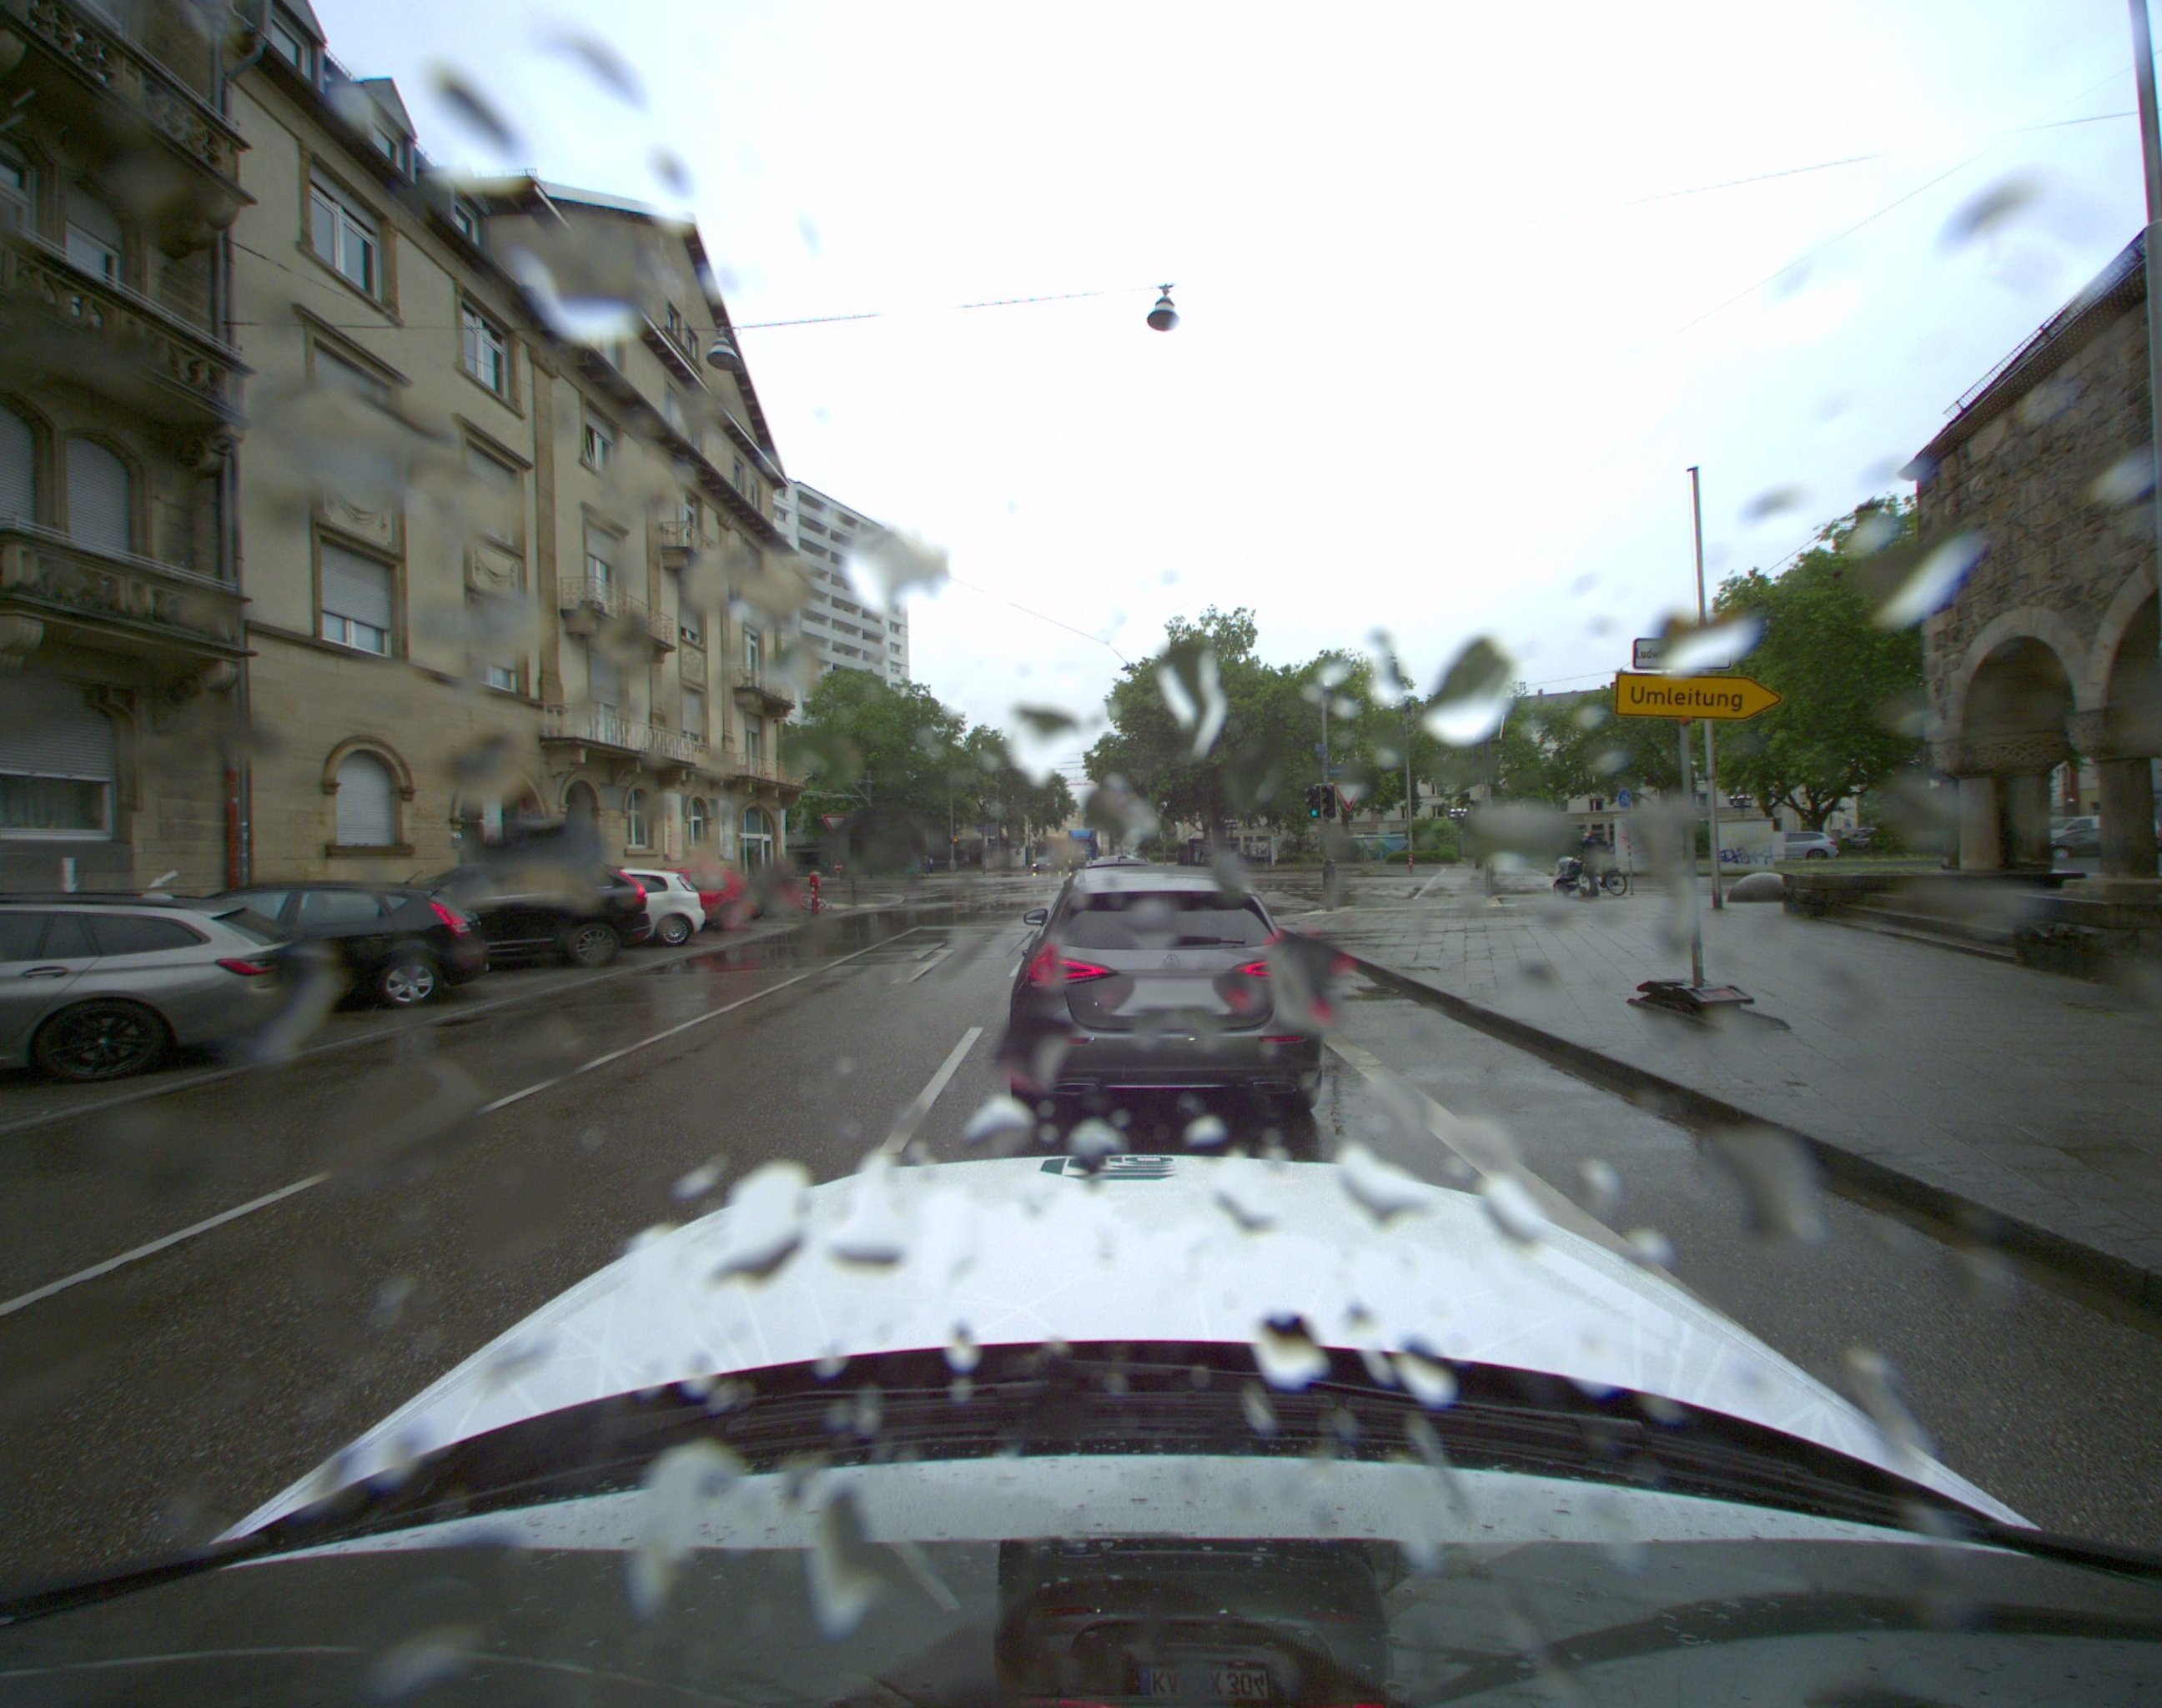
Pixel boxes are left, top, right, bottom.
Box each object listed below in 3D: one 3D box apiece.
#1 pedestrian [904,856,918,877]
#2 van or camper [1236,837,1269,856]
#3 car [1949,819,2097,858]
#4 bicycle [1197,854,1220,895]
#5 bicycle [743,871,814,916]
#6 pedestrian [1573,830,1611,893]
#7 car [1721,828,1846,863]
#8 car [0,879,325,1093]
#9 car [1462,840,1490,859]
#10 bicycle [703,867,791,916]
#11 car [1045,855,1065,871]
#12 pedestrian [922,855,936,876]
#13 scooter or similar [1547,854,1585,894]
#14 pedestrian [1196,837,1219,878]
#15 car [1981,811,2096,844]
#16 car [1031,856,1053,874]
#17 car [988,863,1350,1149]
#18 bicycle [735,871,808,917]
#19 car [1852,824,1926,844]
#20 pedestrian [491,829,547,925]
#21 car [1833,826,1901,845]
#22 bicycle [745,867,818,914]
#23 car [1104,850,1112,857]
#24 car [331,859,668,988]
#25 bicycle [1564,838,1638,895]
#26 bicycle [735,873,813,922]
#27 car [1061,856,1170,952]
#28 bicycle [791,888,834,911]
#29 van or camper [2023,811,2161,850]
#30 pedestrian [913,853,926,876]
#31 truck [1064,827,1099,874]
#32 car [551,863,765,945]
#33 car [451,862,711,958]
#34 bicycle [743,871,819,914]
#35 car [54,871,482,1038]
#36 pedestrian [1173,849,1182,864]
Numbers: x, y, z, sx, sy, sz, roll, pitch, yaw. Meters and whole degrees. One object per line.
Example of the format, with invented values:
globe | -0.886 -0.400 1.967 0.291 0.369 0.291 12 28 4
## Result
pedestrian | -13.838 1.019 66.265 0.785 1.648 0.820 -3 0 17
van or camper | 21.340 -0.948 101.355 2.373 2.231 5.463 -2 -1 29
car | 43.786 -0.699 37.977 4.127 1.599 1.789 -2 0 24
bicycle | 4.593 0.706 29.343 0.745 1.377 2.714 -3 0 9
bicycle | -8.548 1.110 23.052 1.804 1.184 0.468 2 0 -1
pedestrian | 13.821 0.202 22.036 0.600 1.663 0.690 -2 0 5
car | 35.773 -0.434 41.643 4.499 1.599 1.802 -2 0 24
car | -8.780 1.043 6.813 3.446 1.544 1.682 0 0 -38
car | 35.093 -0.395 72.450 1.650 1.521 3.695 -2 -1 17
bicycle | -10.094 1.124 24.654 2.335 1.346 0.639 -2 0 -4
car | -2.736 0.949 86.452 1.720 1.546 4.341 -2 0 1
pedestrian | -12.436 0.966 66.530 0.828 1.648 0.759 -3 0 17
scooter or similar | 13.297 0.543 22.357 0.511 1.048 0.925 -2 0 4
pedestrian | 4.571 0.120 29.389 0.740 1.398 1.050 -3 0 9
car | 58.413 -1.572 49.776 4.210 1.778 1.748 -2 0 22
car | -3.642 0.997 75.933 1.737 1.546 3.780 -2 0 1
car | 0.489 0.774 5.790 1.784 1.372 3.508 0 0 2
bicycle | -8.554 1.105 22.532 1.804 1.184 0.475 2 0 0
car | 66.820 -1.632 67.427 3.949 1.452 1.687 -2 -1 27
pedestrian | -14.030 0.572 20.352 0.838 2.340 0.768 -2 0 24
car | 69.201 -1.639 71.767 3.949 1.452 1.687 -2 -1 27
bicycle | -8.866 1.079 24.132 1.967 1.330 0.438 -2 0 3
car | 7.201 -0.010 219.055 1.880 1.836 4.006 -2 -1 6
car | -8.959 0.937 12.869 4.104 1.692 1.744 0 0 -38
bicycle | 14.184 0.319 22.284 0.531 1.466 1.935 -2 0 -8
bicycle | -8.079 1.138 21.437 1.800 1.184 0.601 2 0 7
car | 0.592 0.771 14.357 1.601 1.372 4.002 -3 0 2
bicycle | -8.482 1.434 25.723 1.045 0.663 1.464 1 -1 -29
van or camper | 55.988 -1.262 45.082 4.615 1.914 2.011 -2 0 21
pedestrian | -12.692 0.825 63.959 0.683 1.838 0.632 -2 -1 -40
truck | 0.144 -0.284 76.880 2.835 4.025 10.319 -2 0 1
car | -9.488 1.037 18.384 4.019 1.508 1.783 -2 0 -37
car | -9.324 0.936 15.329 4.013 1.533 1.685 0 0 -38
bicycle | -8.668 1.105 23.565 1.974 1.185 0.475 2 -1 -2
car | -9.090 1.006 9.548 3.326 1.525 1.682 0 0 -37
pedestrian | 11.331 0.275 95.440 0.709 1.669 0.669 -2 -1 38
